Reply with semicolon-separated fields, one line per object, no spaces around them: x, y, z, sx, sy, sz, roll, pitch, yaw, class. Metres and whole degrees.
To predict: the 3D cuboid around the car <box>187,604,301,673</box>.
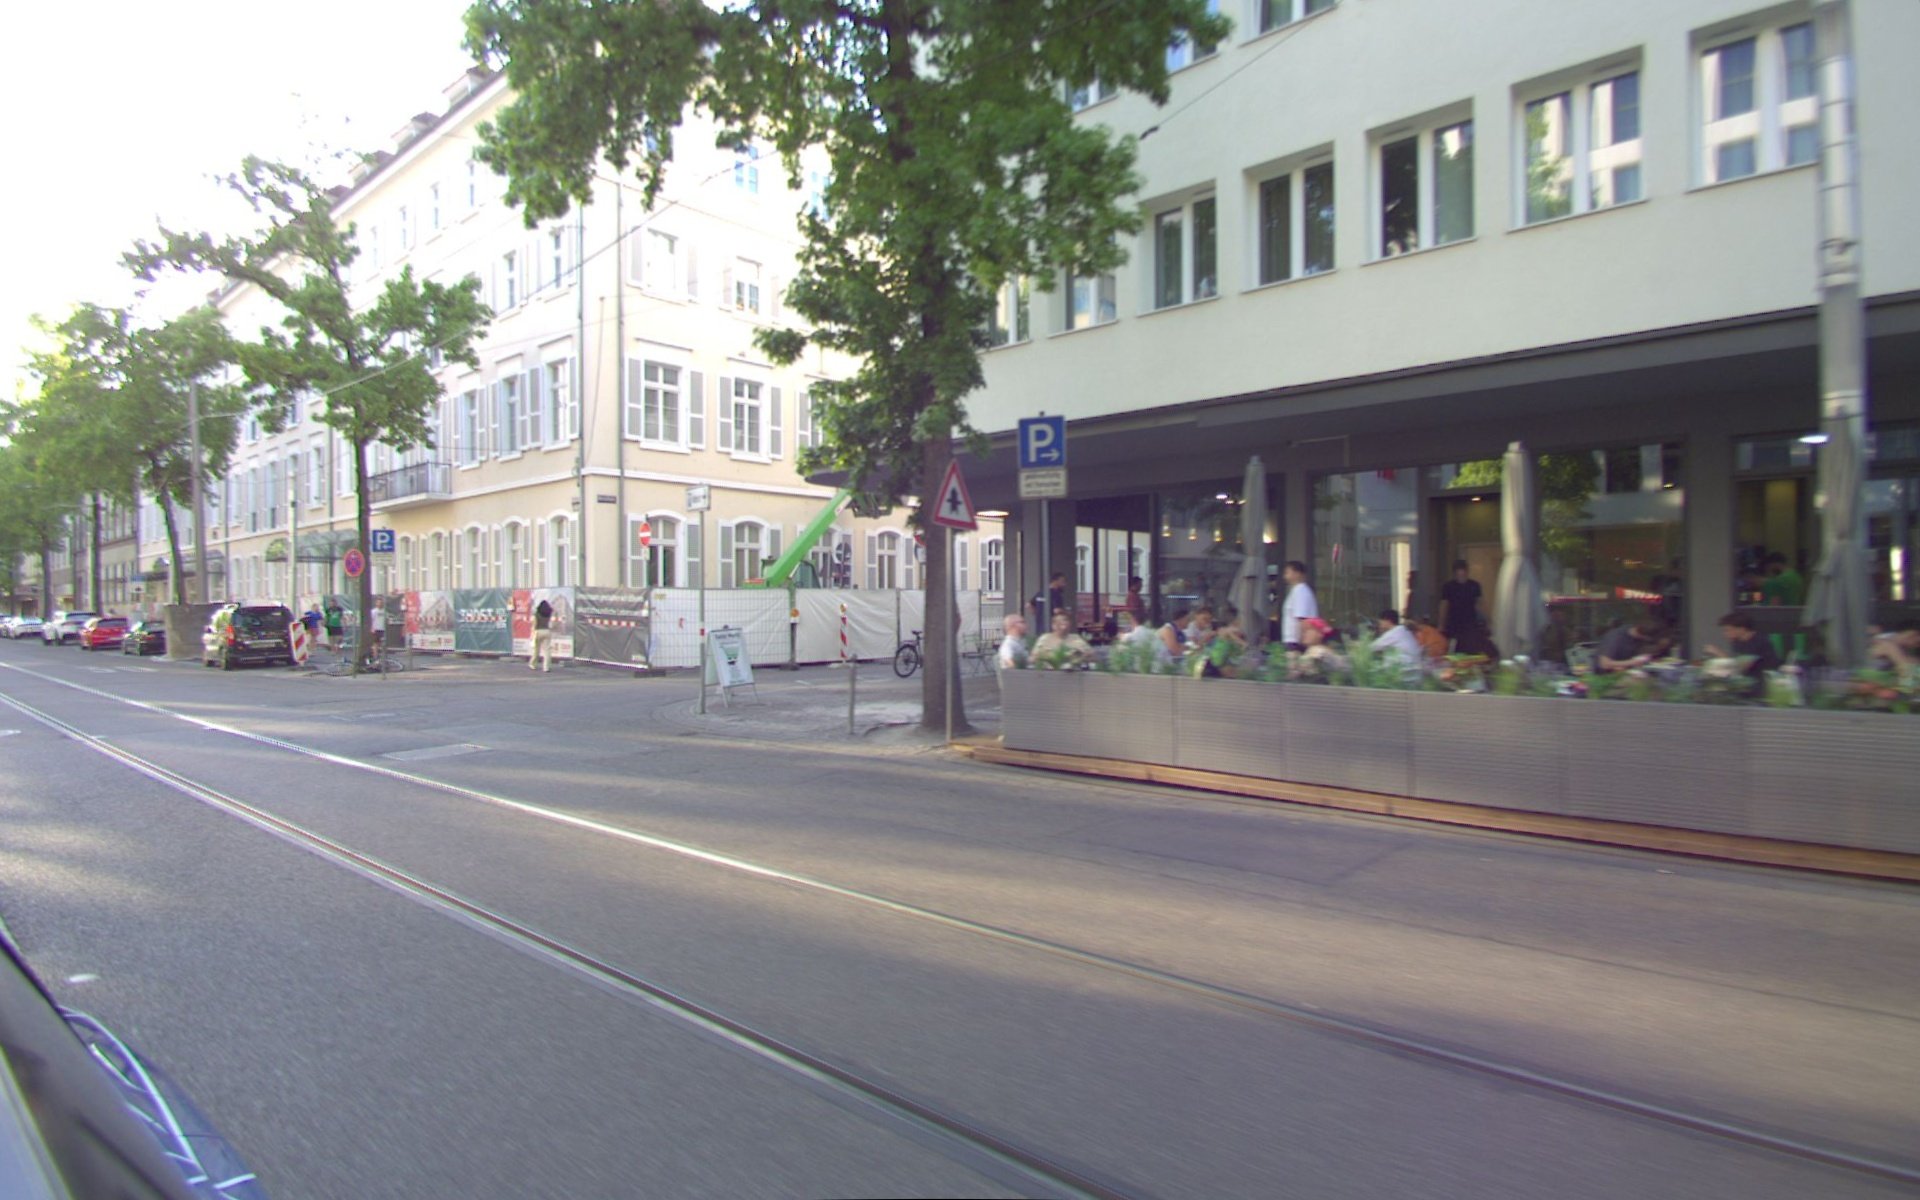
-21.119;1.092;29.772;4.559;1.846;1.837;-1;0;43;car

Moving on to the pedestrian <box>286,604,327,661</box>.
-21.405;1.051;33.147;0.884;1.795;0.856;-1;2;41;pedestrian

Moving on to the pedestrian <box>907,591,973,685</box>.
-0.355;0.682;18.345;0.861;1.627;0.791;-4;-2;25;pedestrian

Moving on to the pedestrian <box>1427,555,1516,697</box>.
6.870;0.339;13.613;0.754;1.833;0.688;-2;1;-9;pedestrian

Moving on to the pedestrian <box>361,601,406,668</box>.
-16.120;0.943;28.290;0.984;1.805;0.766;-1;2;43;pedestrian

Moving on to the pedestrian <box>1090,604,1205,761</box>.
1.793;0.752;9.683;0.807;1.397;0.682;-1;1;42;pedestrian

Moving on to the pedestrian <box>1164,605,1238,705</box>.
3.273;0.729;13.761;0.738;1.279;0.638;-1;1;42;pedestrian

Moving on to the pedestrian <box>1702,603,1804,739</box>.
7.233;0.622;9.232;0.686;1.170;0.546;-1;1;42;pedestrian

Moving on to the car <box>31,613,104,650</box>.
-45.071;1.562;51.080;4.945;1.701;1.848;-1;2;39;car

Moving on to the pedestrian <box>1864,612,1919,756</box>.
8.132;0.699;8.575;0.686;1.170;0.546;-1;1;42;pedestrian

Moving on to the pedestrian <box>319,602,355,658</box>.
-20.755;0.986;33.736;0.876;1.826;0.712;-1;2;41;pedestrian

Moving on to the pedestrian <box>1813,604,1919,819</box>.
6.138;0.700;6.621;0.807;1.321;0.682;-1;1;42;pedestrian

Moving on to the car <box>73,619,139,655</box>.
-37.628;1.592;44.555;4.140;1.416;1.642;-1;2;42;car

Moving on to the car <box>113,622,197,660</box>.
-31.037;1.535;38.982;4.505;1.254;1.700;-1;2;41;car

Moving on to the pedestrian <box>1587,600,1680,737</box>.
6.817;0.670;10.245;0.686;1.308;0.596;-1;1;42;pedestrian

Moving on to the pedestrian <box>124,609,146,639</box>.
-45.084;1.303;55.293;0.933;1.592;0.736;-1;2;42;pedestrian

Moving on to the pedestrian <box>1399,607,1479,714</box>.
5.547;0.684;11.715;0.686;1.170;0.546;-1;1;42;pedestrian

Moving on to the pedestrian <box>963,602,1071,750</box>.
0.571;0.732;10.219;0.807;1.397;0.682;-1;1;42;pedestrian

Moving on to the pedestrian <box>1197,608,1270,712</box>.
3.453;0.742;12.784;0.686;1.245;0.546;-1;1;42;pedestrian

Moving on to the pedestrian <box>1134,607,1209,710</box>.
2.785;0.750;13.320;0.727;1.291;0.620;-1;1;42;pedestrian

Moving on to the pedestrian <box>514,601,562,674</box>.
-9.840;0.871;23.607;0.967;1.669;0.699;-2;-2;43;pedestrian

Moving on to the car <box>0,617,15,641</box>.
-73.049;2.210;76.442;4.763;1.754;1.927;-1;2;41;car

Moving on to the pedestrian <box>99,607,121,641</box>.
-45.826;1.302;54.576;0.933;1.755;0.736;-1;2;42;pedestrian

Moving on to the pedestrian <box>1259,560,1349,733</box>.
3.762;0.477;11.063;0.686;1.805;0.750;-1;1;38;pedestrian

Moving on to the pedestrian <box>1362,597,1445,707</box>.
4.979;0.567;11.363;0.686;1.170;0.546;-1;1;42;pedestrian

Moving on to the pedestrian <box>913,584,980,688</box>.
-0.239;0.614;17.723;0.851;1.754;0.800;-1;-1;-30;pedestrian

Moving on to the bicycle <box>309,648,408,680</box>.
-14.478;1.518;24.384;1.282;0.613;1.775;-1;0;45;bicycle

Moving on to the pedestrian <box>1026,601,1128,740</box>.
1.254;0.723;10.835;0.807;1.397;0.682;-1;1;42;pedestrian

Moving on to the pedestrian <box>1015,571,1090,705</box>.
1.304;0.514;14.358;0.675;1.829;0.766;-2;1;-33;pedestrian

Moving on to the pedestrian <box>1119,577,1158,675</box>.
3.011;0.431;17.141;0.398;1.616;0.623;-1;-1;-15;pedestrian

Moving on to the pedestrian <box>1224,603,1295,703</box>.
3.902;0.675;13.191;0.686;1.245;0.546;-1;1;42;pedestrian

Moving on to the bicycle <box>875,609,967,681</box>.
-0.774;0.903;20.665;0.712;1.391;1.854;-5;-3;43;bicycle

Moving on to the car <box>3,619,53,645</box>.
-58.584;1.986;63.581;4.615;1.477;1.872;-1;2;42;car
